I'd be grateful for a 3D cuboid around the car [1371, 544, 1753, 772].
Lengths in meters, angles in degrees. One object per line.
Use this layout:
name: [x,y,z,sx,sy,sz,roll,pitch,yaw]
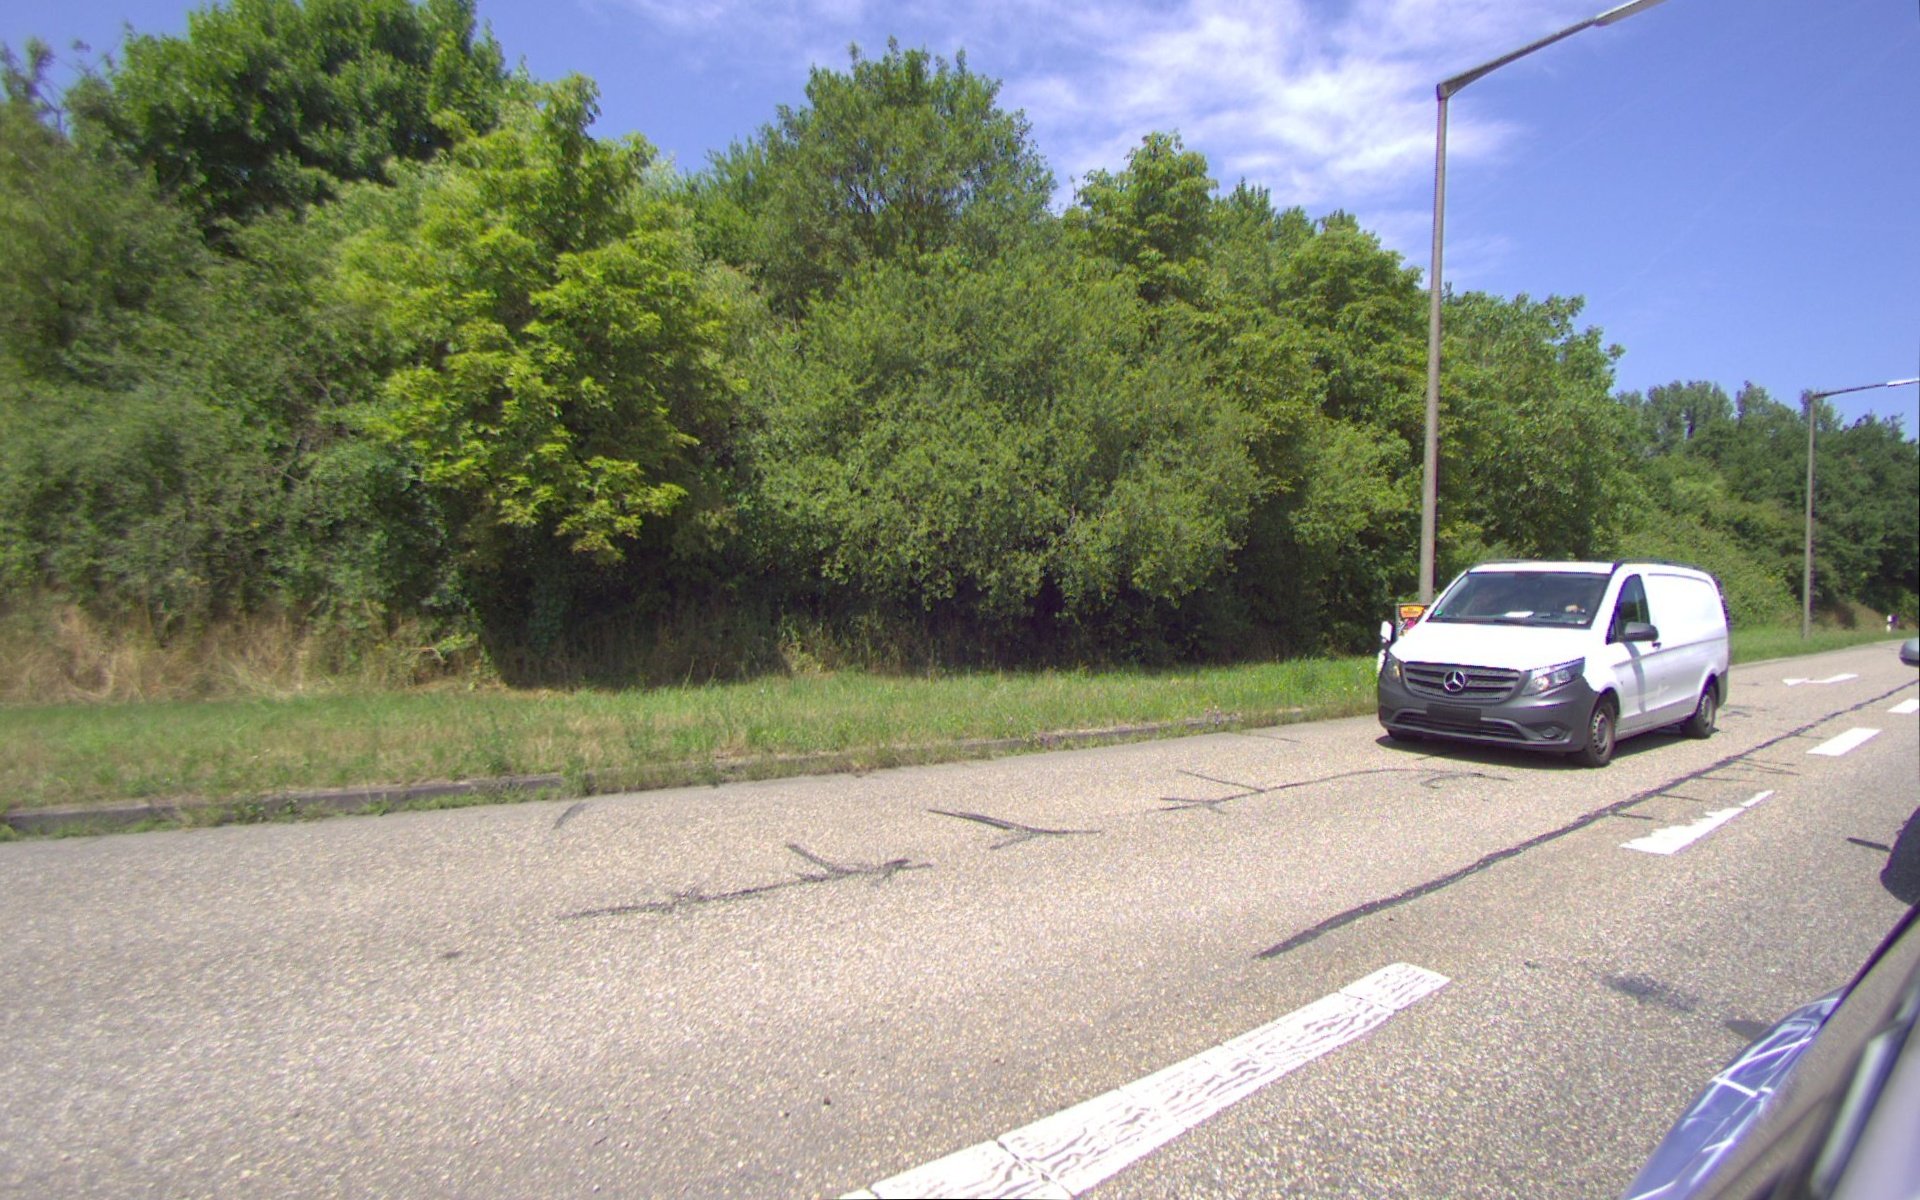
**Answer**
car: [6.364,0.451,10.440,4.820,1.841,1.864,0,1,-40]
